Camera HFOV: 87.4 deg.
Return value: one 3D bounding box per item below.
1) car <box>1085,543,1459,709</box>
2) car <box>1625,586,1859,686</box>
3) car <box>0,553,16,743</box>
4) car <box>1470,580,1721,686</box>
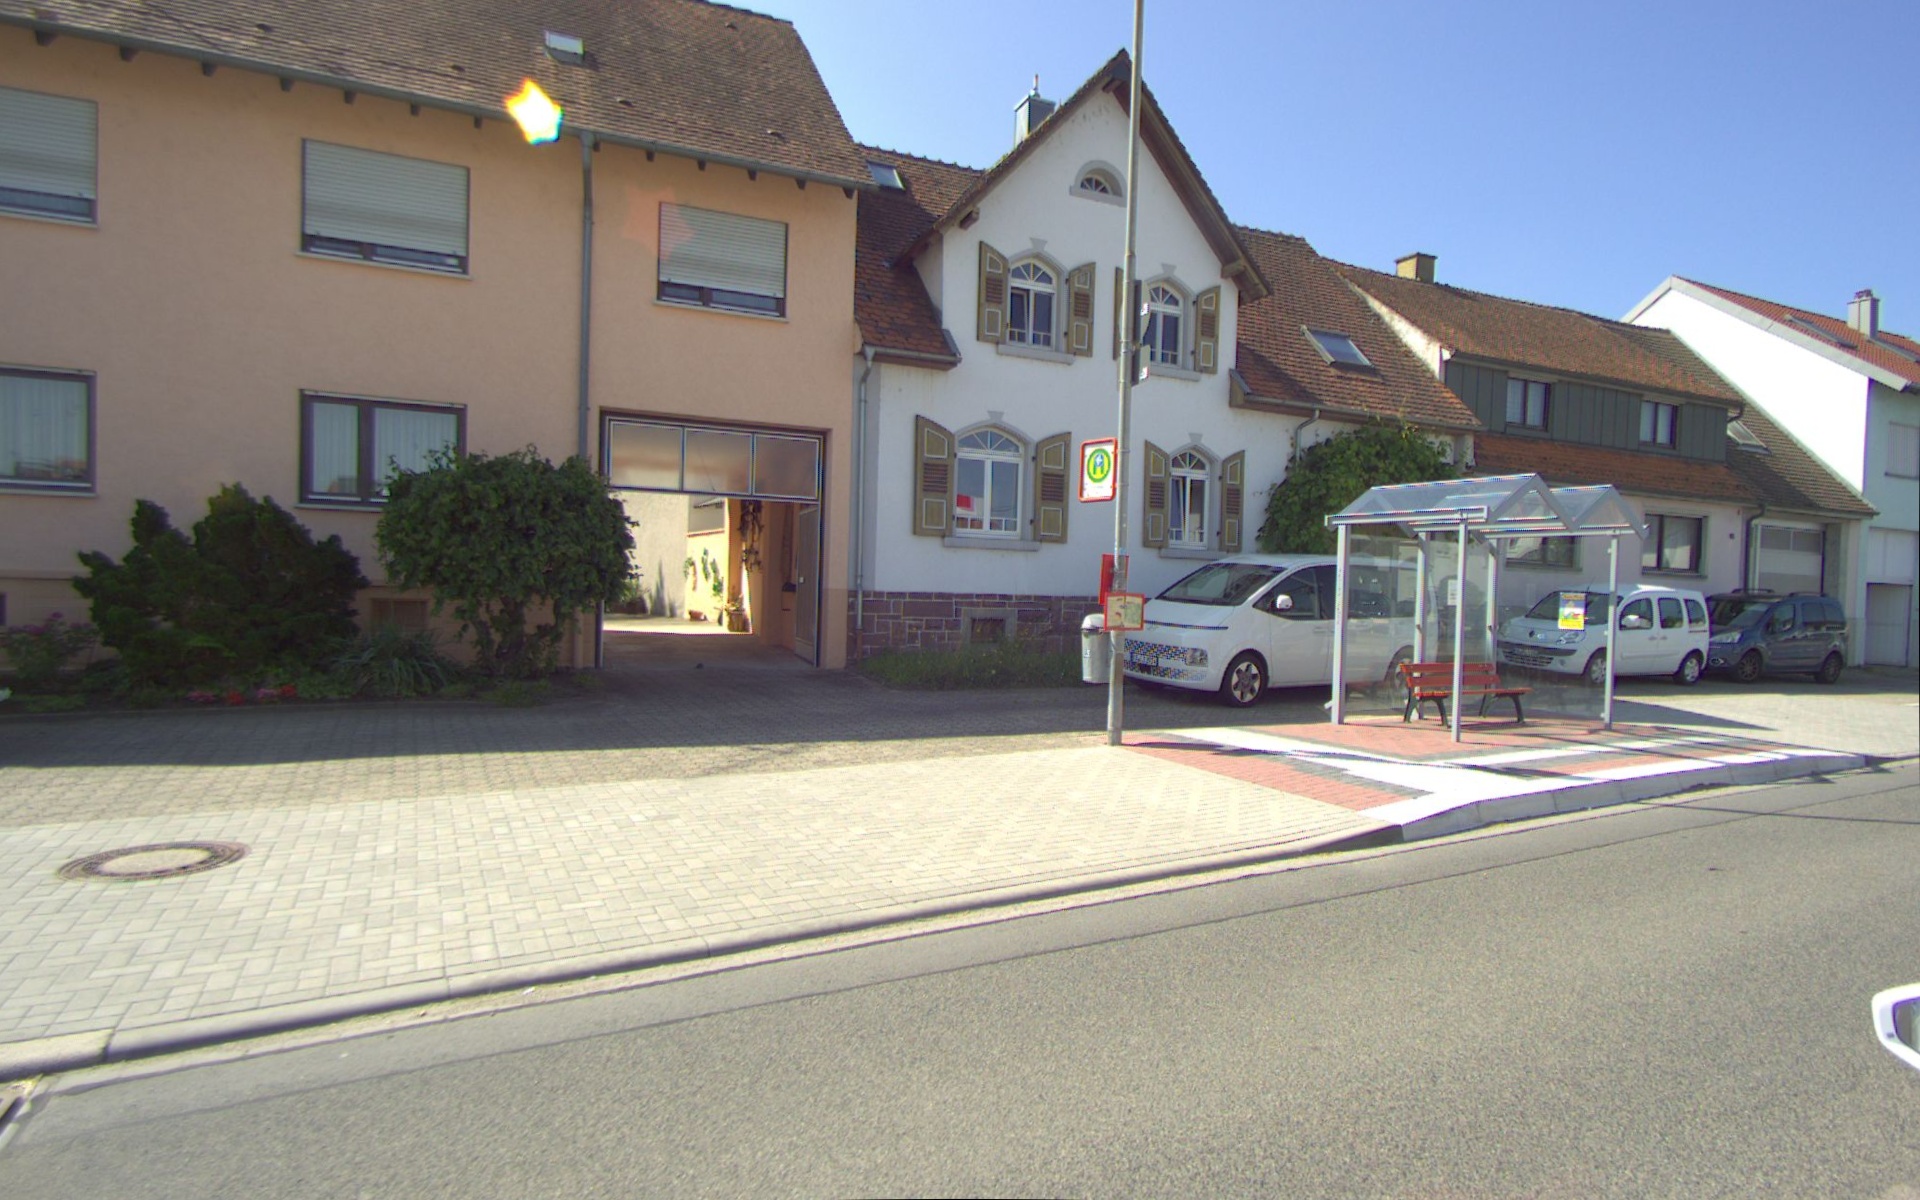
[{"bbox_3d":[4.535,0.364,14.373,5.203,2.013,2.116,2,1,-30],"label":"car"},{"bbox_3d":[16.171,0.729,20.775,4.279,1.817,1.833,2,3,-22],"label":"car"},{"bbox_3d":[-8.880,0.390,6.371,3.866,1.473,1.707,0,2,-29],"label":"car"},{"bbox_3d":[11.895,0.613,18.807,4.219,1.798,1.962,2,1,-25],"label":"car"}]
